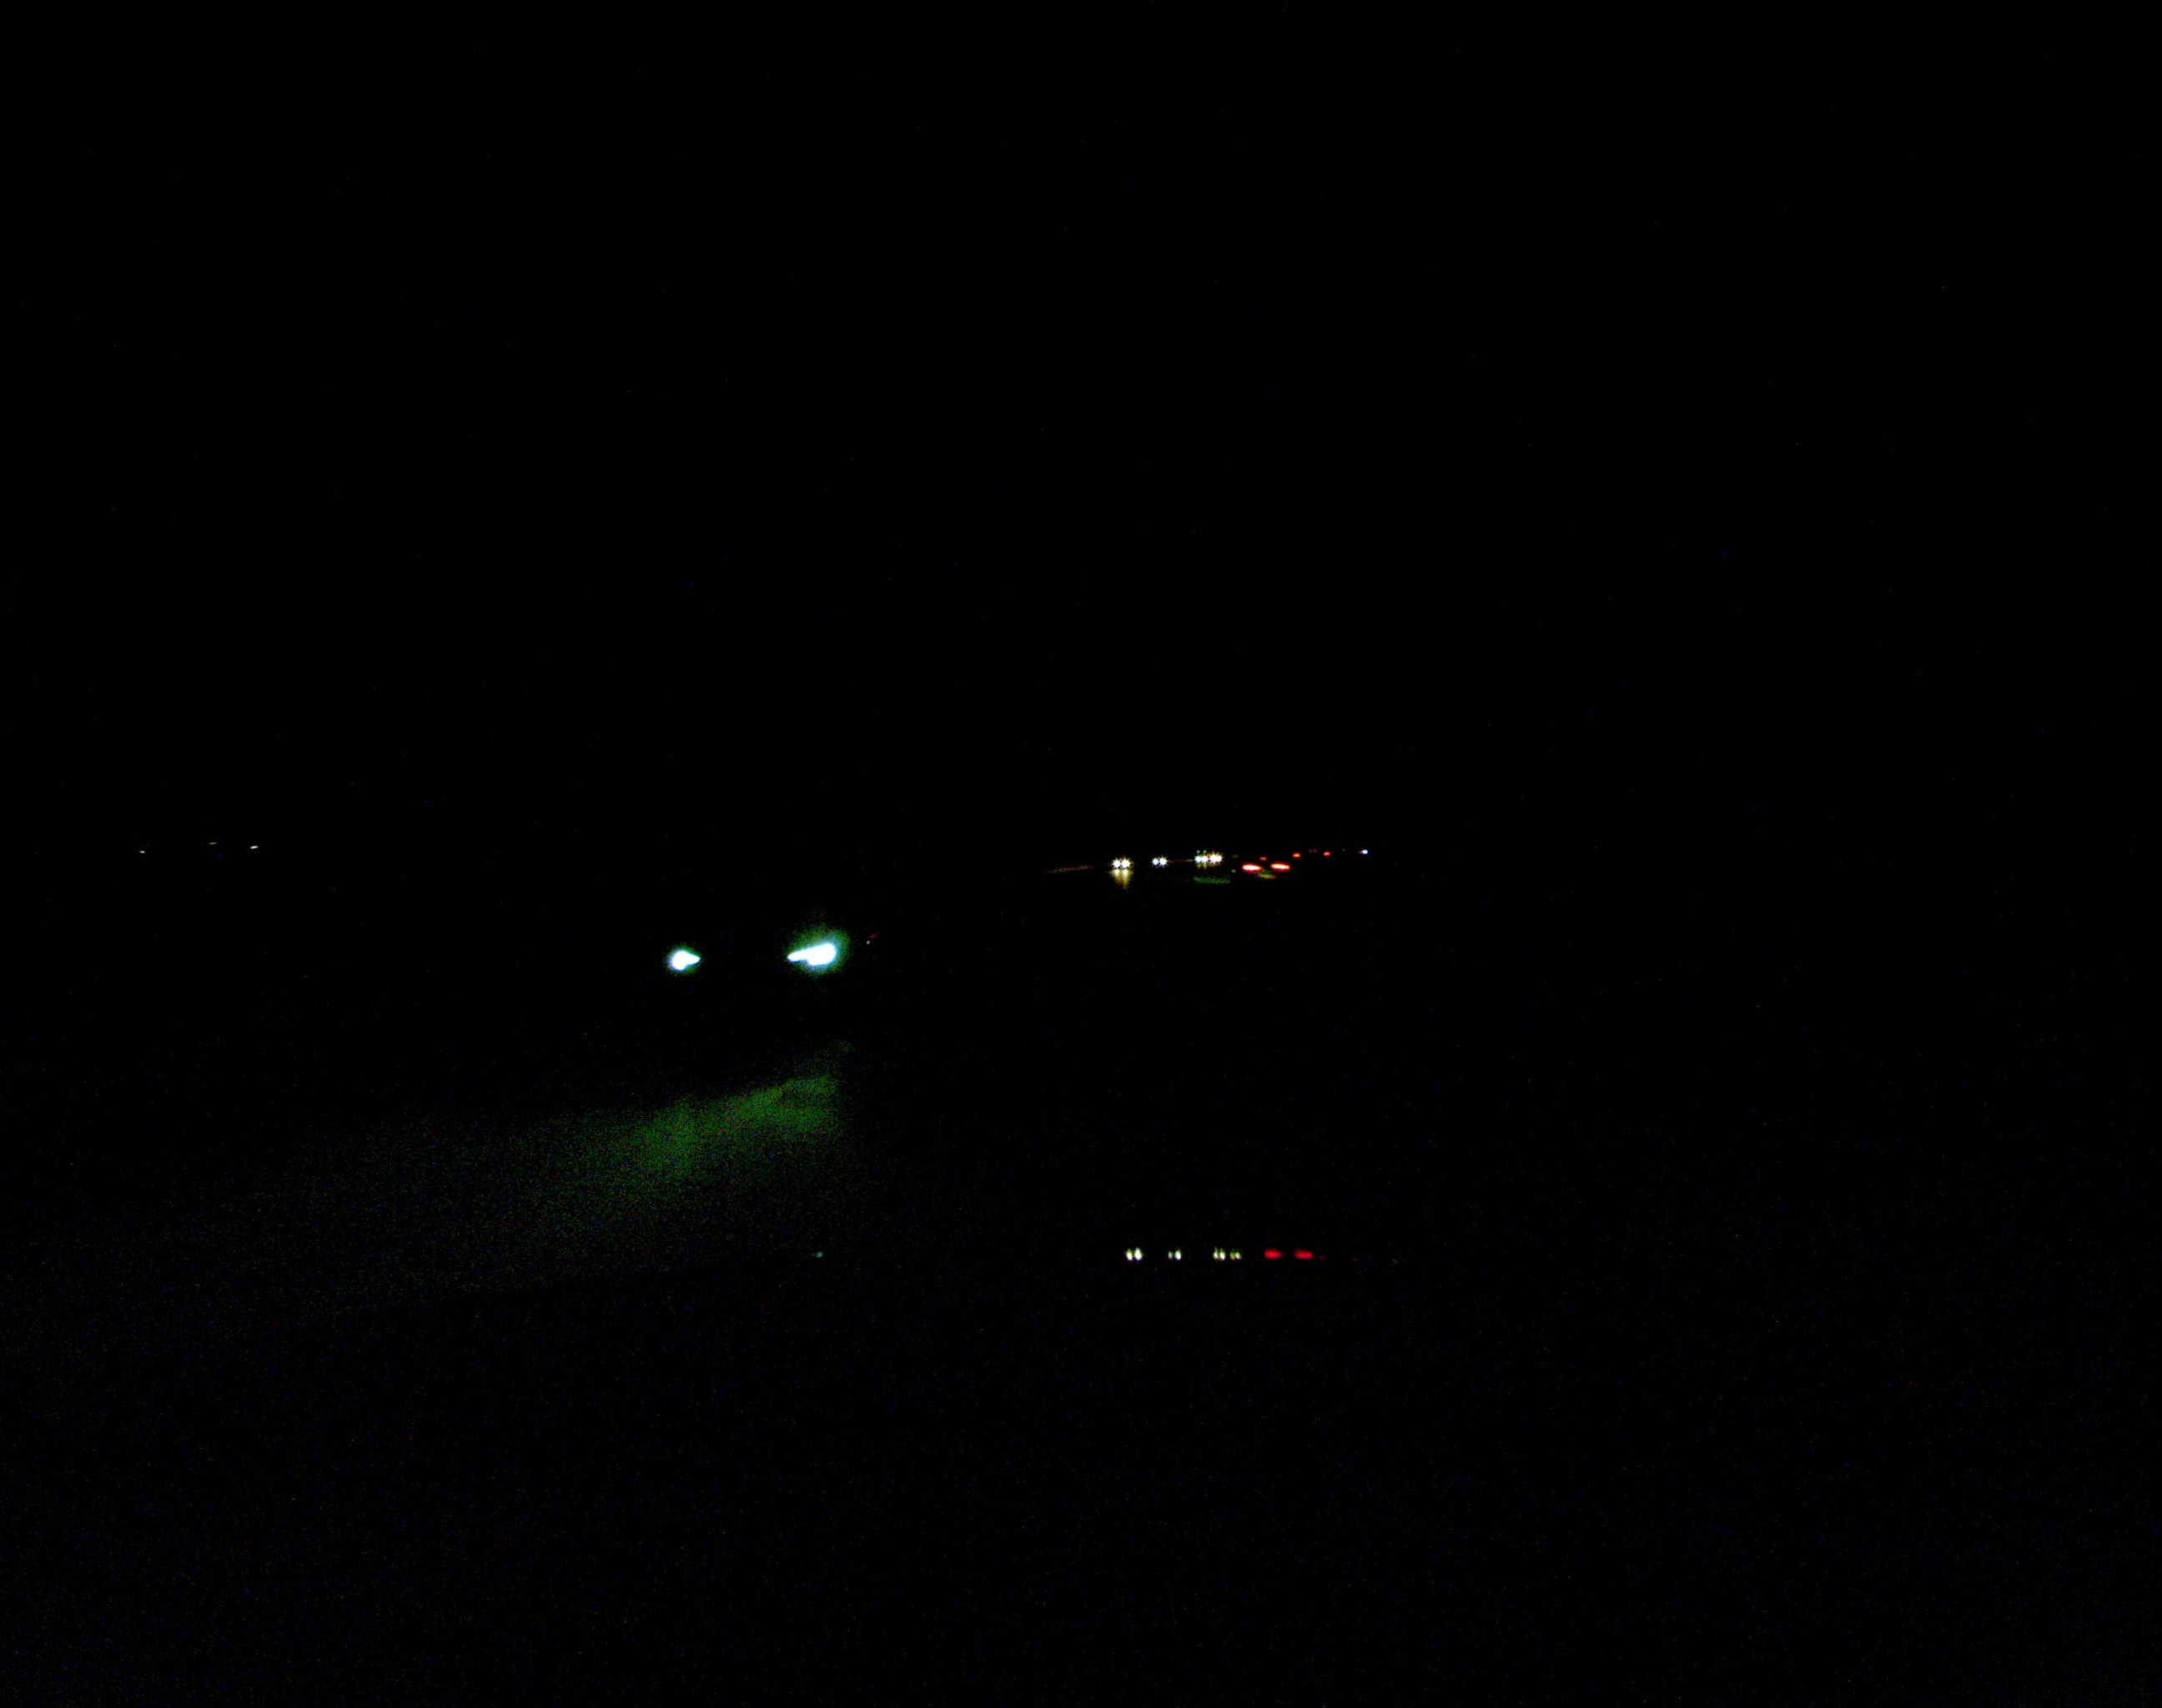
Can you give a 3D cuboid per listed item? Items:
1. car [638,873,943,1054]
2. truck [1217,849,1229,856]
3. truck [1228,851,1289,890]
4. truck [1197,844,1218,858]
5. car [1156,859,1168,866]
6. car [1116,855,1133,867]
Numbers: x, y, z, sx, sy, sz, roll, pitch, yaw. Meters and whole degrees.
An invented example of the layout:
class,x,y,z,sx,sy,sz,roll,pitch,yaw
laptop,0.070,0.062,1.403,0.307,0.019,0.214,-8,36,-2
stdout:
class,x,y,z,sx,sy,sz,roll,pitch,yaw
car,-3.127,1.078,9.454,1.812,1.418,4.874,-2,1,1
truck,45.000,-0.492,240.477,2.423,2.410,7.101,0,0,20
truck,7.533,0.666,32.604,1.687,1.461,4.153,-3,1,1
truck,39.960,-1.019,238.909,2.967,4.250,17.169,0,1,22
car,16.330,1.730,153.260,1.810,1.508,3.940,0,-1,13
car,5.775,0.956,100.384,1.811,1.508,3.938,0,-1,9
